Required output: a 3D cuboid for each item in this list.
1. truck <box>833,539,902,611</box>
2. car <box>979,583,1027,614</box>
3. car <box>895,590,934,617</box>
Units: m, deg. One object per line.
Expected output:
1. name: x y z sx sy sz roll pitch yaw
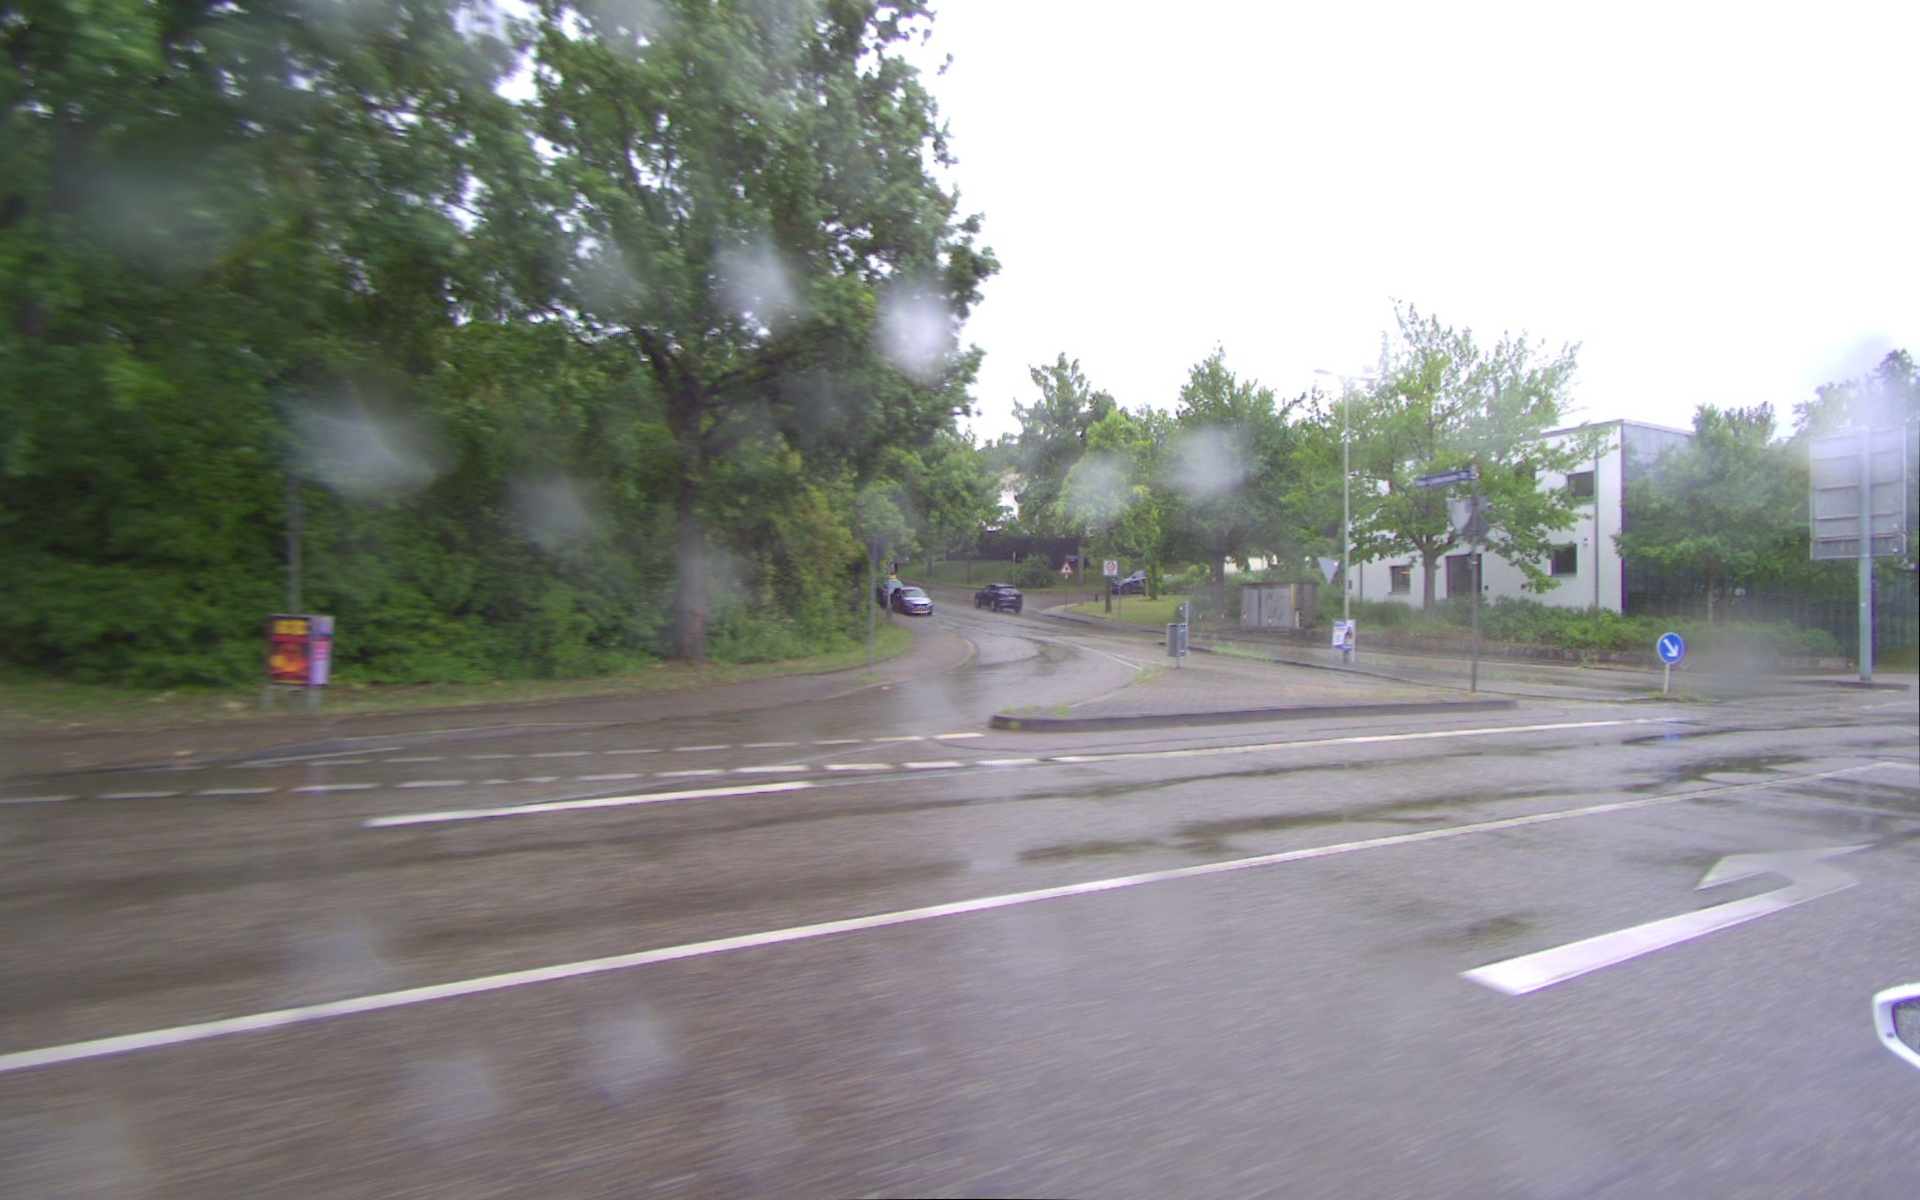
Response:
1. truck: -6.732 -1.724 71.443 2.771 4.716 10.651 1 1 -17
2. car: 2.632 -0.094 61.957 1.771 1.786 3.986 1 1 -16
3. car: -2.650 0.181 57.563 1.453 1.419 3.871 1 1 -15
